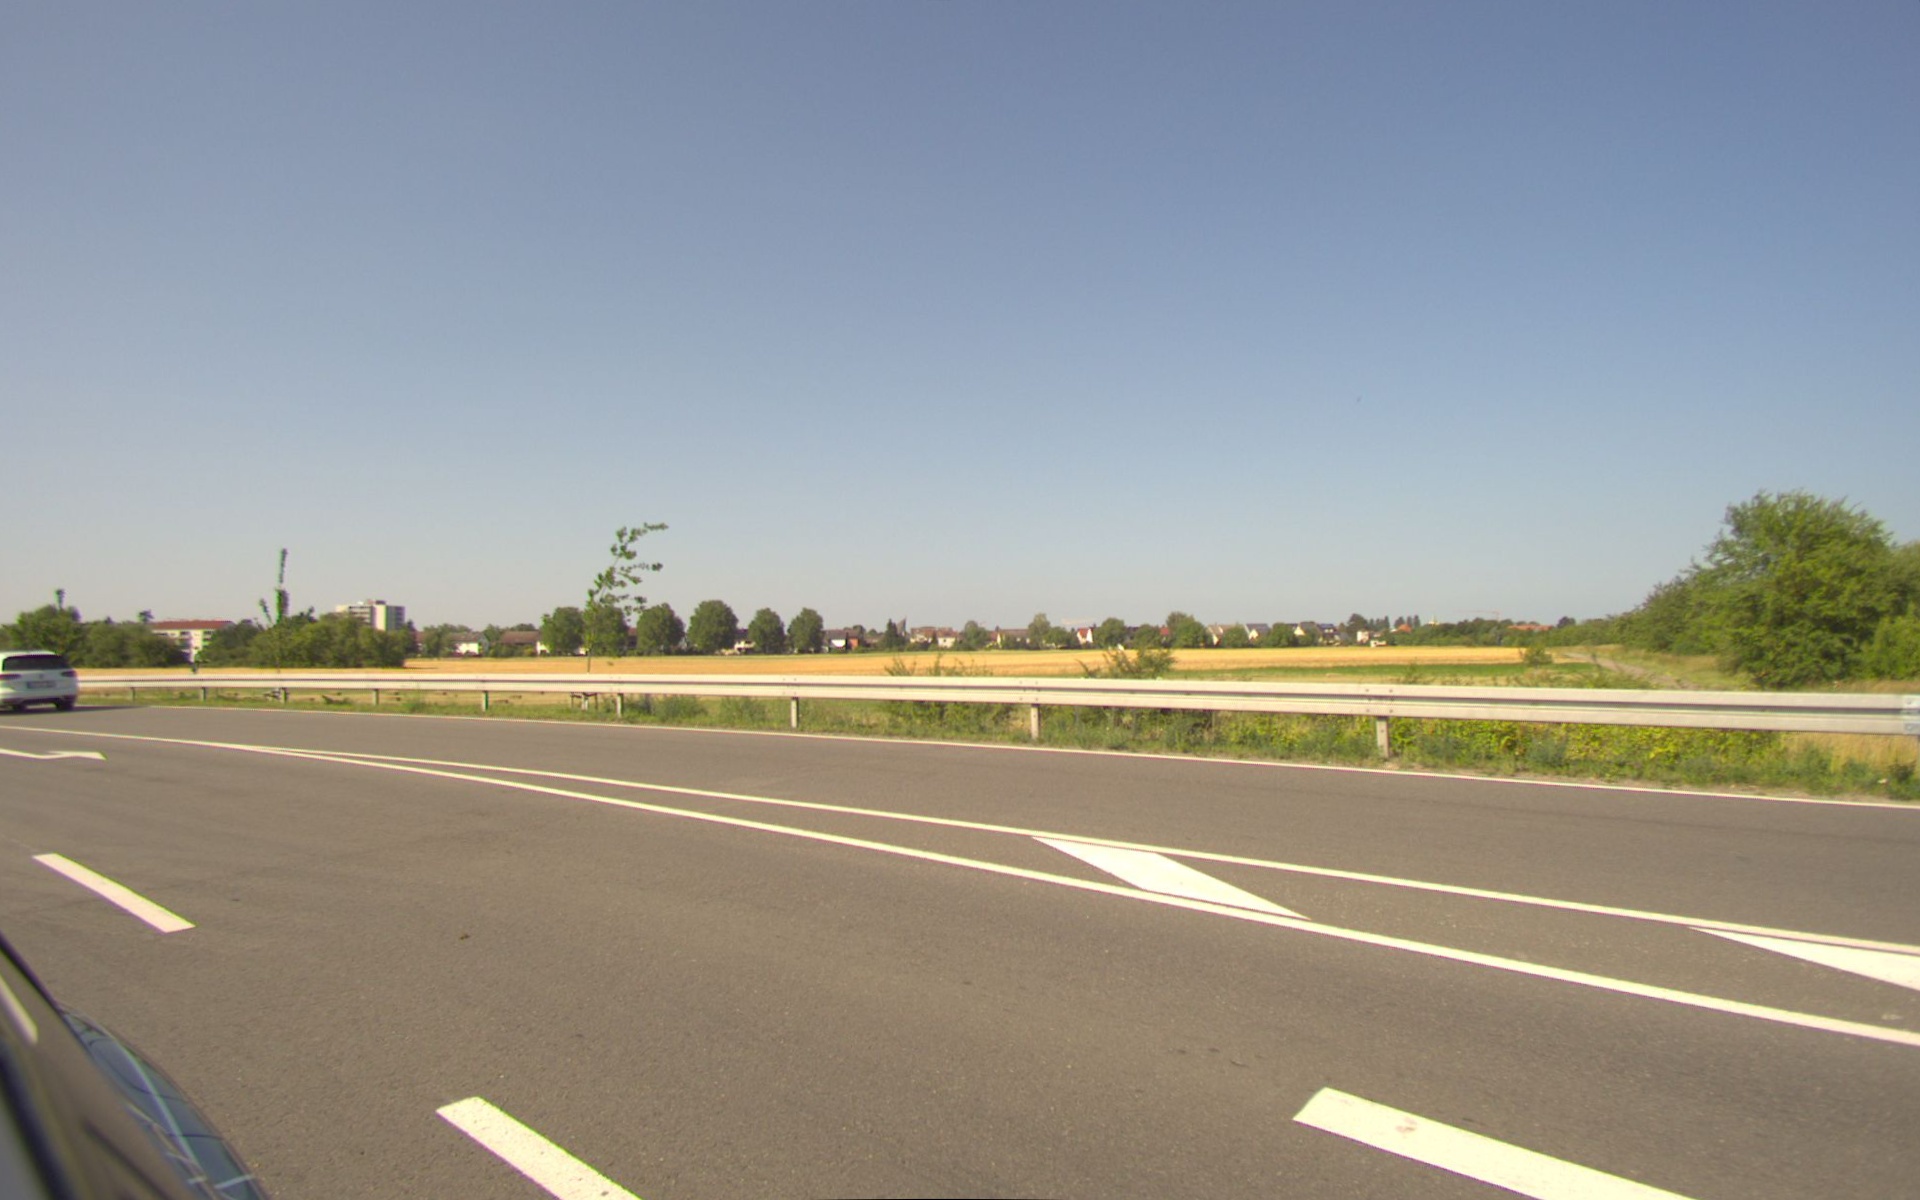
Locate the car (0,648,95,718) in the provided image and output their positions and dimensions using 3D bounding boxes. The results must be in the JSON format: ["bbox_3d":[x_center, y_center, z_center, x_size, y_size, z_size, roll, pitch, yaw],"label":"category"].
[{"bbox_3d":[-23.473,2.106,24.689,5.134,1.504,2.099,-5,-2,31],"label":"car"}]
